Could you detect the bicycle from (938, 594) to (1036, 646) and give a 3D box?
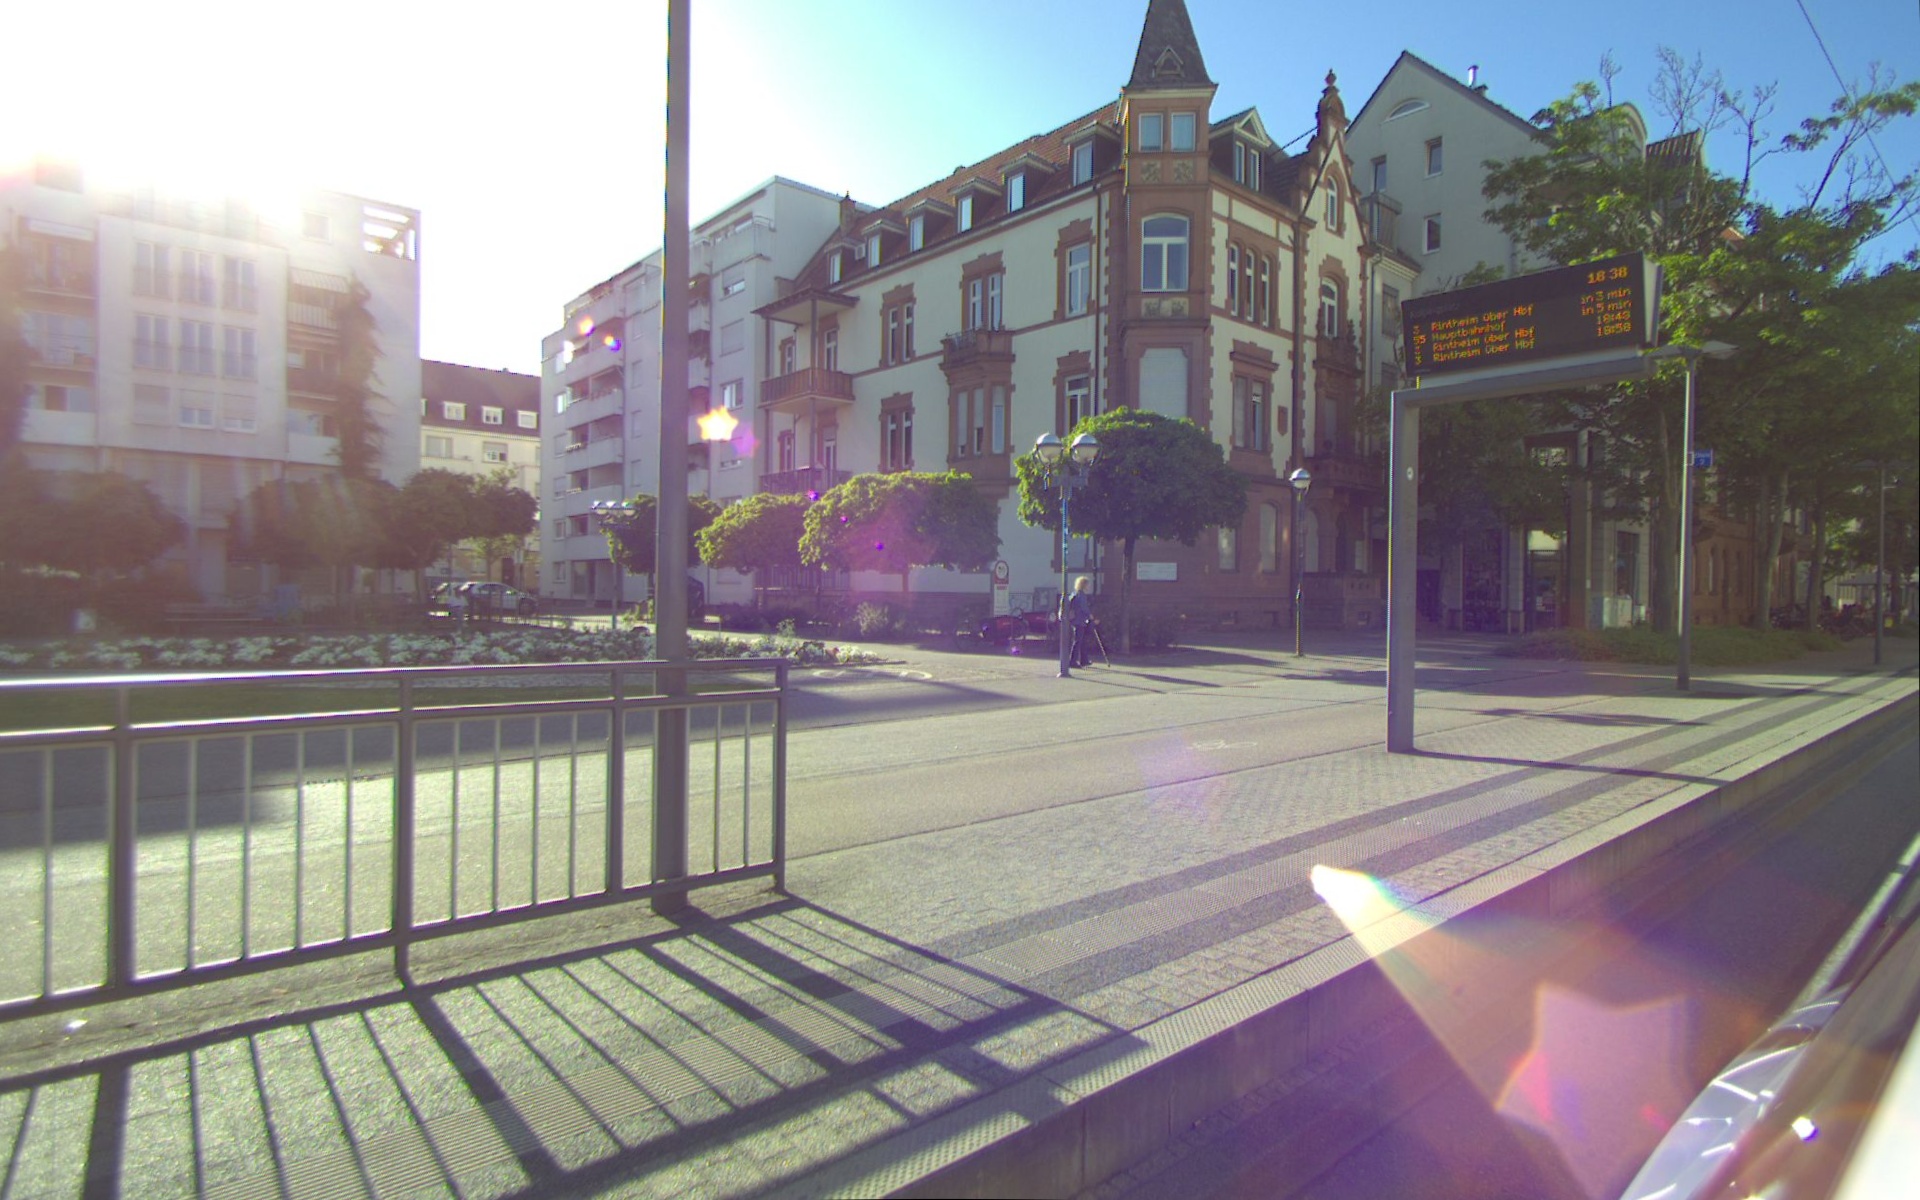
[{"bbox_3d":[0.678,0.446,24.153,0.786,1.081,2.767,1,2,40],"label":"bicycle"}]

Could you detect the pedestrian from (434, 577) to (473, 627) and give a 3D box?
[{"bbox_3d":[-14.681,0.045,29.328,0.917,1.429,1.529,0,1,-30],"label":"pedestrian"}]

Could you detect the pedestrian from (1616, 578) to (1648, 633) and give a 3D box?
[{"bbox_3d":[22.145,0.169,33.343,0.740,1.757,0.864,1,0,43],"label":"pedestrian"}]

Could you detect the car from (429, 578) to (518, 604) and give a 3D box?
[{"bbox_3d":[-25.076,-0.472,52.194,3.923,1.304,2.001,0,1,-34],"label":"car"}]

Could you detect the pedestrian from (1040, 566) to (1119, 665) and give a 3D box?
[{"bbox_3d":[2.139,0.256,18.064,1.064,1.689,0.944,1,0,37],"label":"pedestrian"}]

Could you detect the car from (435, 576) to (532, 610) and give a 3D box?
[{"bbox_3d":[-22.536,-0.322,47.889,3.923,1.536,2.001,0,1,-34],"label":"car"}]

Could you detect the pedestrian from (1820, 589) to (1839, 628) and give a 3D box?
[{"bbox_3d":[46.480,0.442,54.086,0.549,2.039,0.654,0,0,-38],"label":"pedestrian"}]

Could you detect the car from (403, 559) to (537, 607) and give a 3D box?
[{"bbox_3d":[-27.853,-0.945,57.690,2.806,2.587,6.295,1,1,44],"label":"car"}]

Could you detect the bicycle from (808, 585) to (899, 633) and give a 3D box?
[{"bbox_3d":[-3.230,0.251,30.919,2.864,1.389,0.745,0,1,-41],"label":"bicycle"}]
